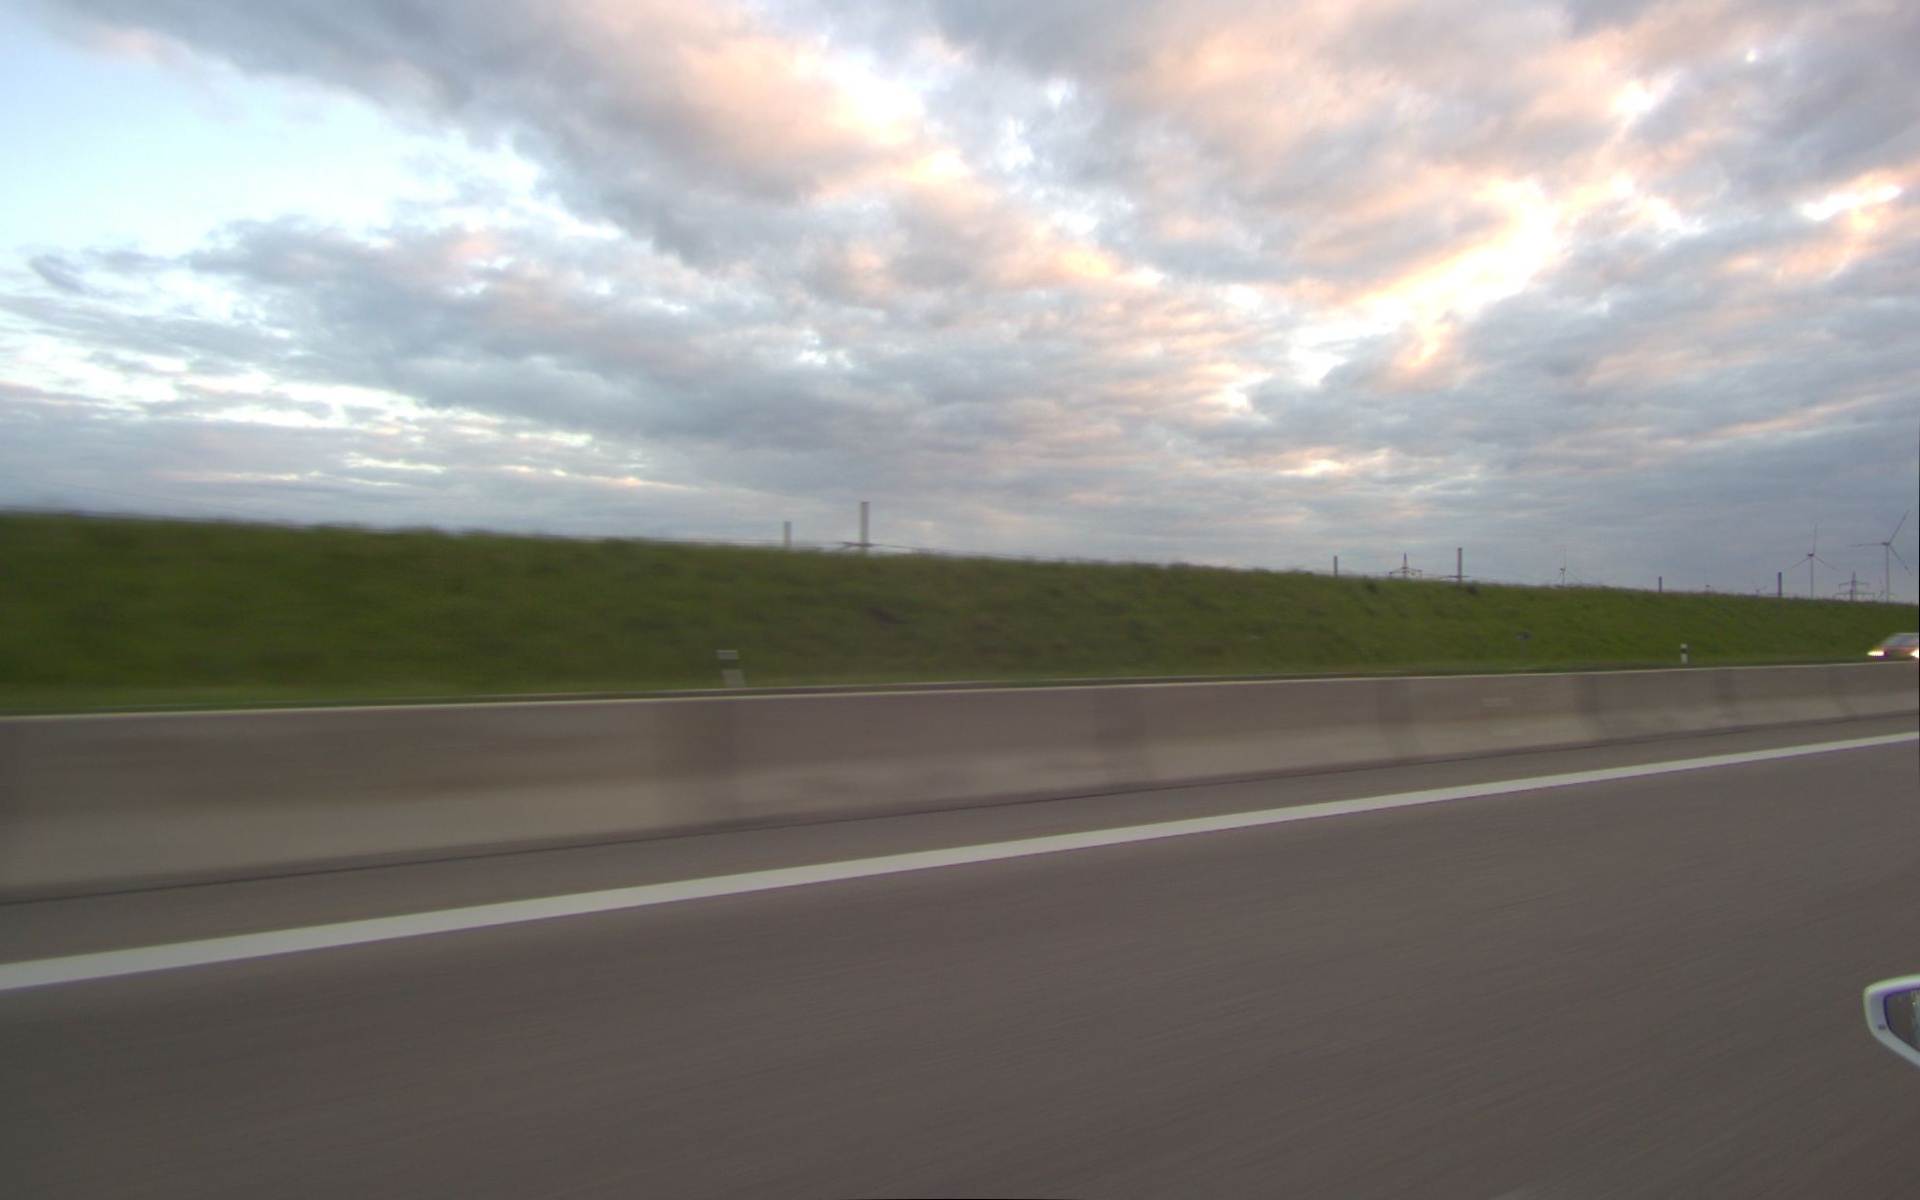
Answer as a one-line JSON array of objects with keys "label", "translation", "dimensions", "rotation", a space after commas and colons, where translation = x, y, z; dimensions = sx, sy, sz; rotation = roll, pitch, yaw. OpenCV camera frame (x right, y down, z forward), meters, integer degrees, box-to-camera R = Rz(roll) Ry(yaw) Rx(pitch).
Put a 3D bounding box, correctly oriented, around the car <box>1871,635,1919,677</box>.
[{"label": "car", "translation": [38.380, 2.202, 40.142], "dimensions": [4.058, 1.613, 1.844], "rotation": [1, -2, -31]}]
